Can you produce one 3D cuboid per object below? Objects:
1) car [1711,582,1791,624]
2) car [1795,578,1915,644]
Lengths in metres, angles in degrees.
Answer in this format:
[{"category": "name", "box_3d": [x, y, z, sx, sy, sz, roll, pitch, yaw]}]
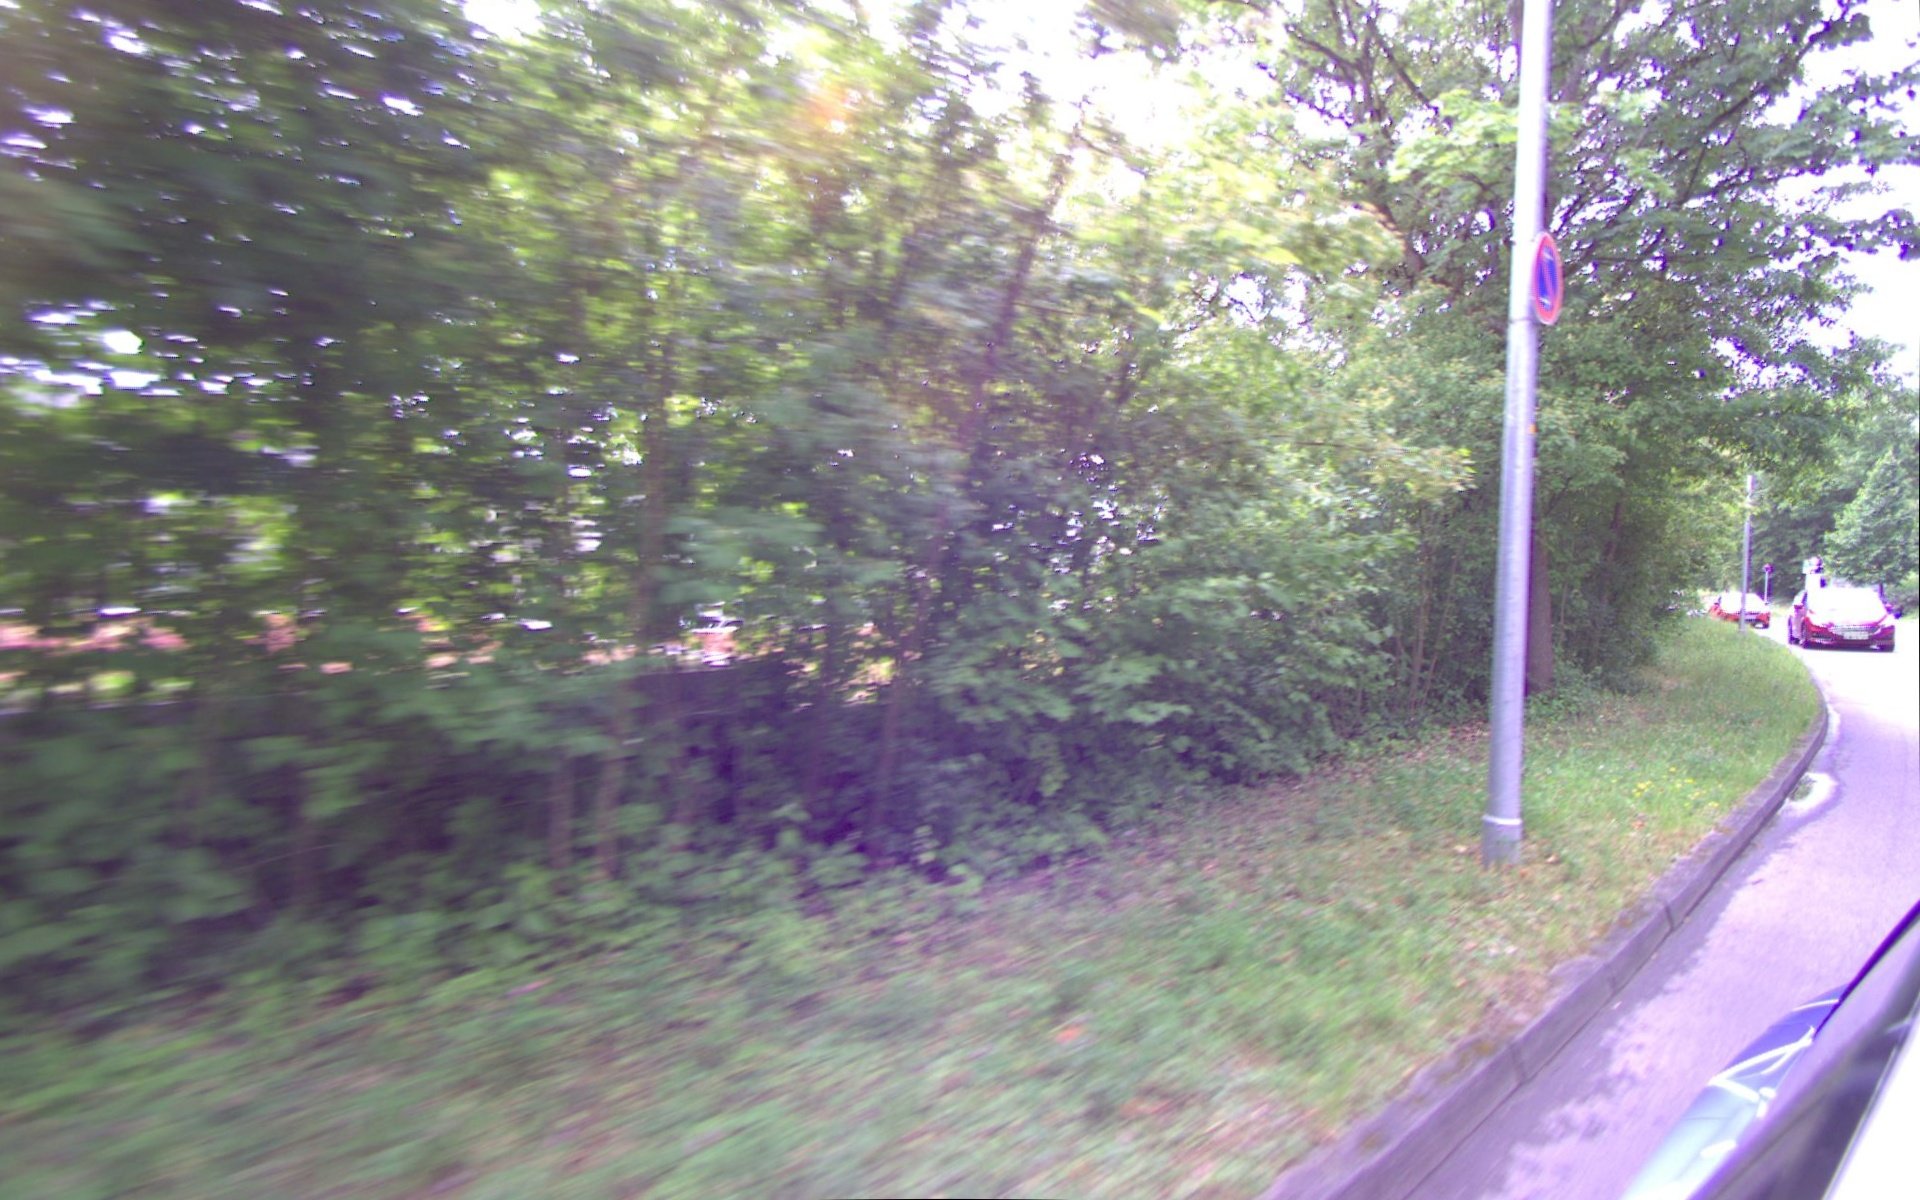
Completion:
[{"category": "car", "box_3d": [33.471, 0.096, 42.927, 1.983, 1.593, 3.960, 3, 2, 29]}, {"category": "car", "box_3d": [24.380, 0.238, 27.738, 1.850, 1.638, 4.422, 1, 1, 34]}]
